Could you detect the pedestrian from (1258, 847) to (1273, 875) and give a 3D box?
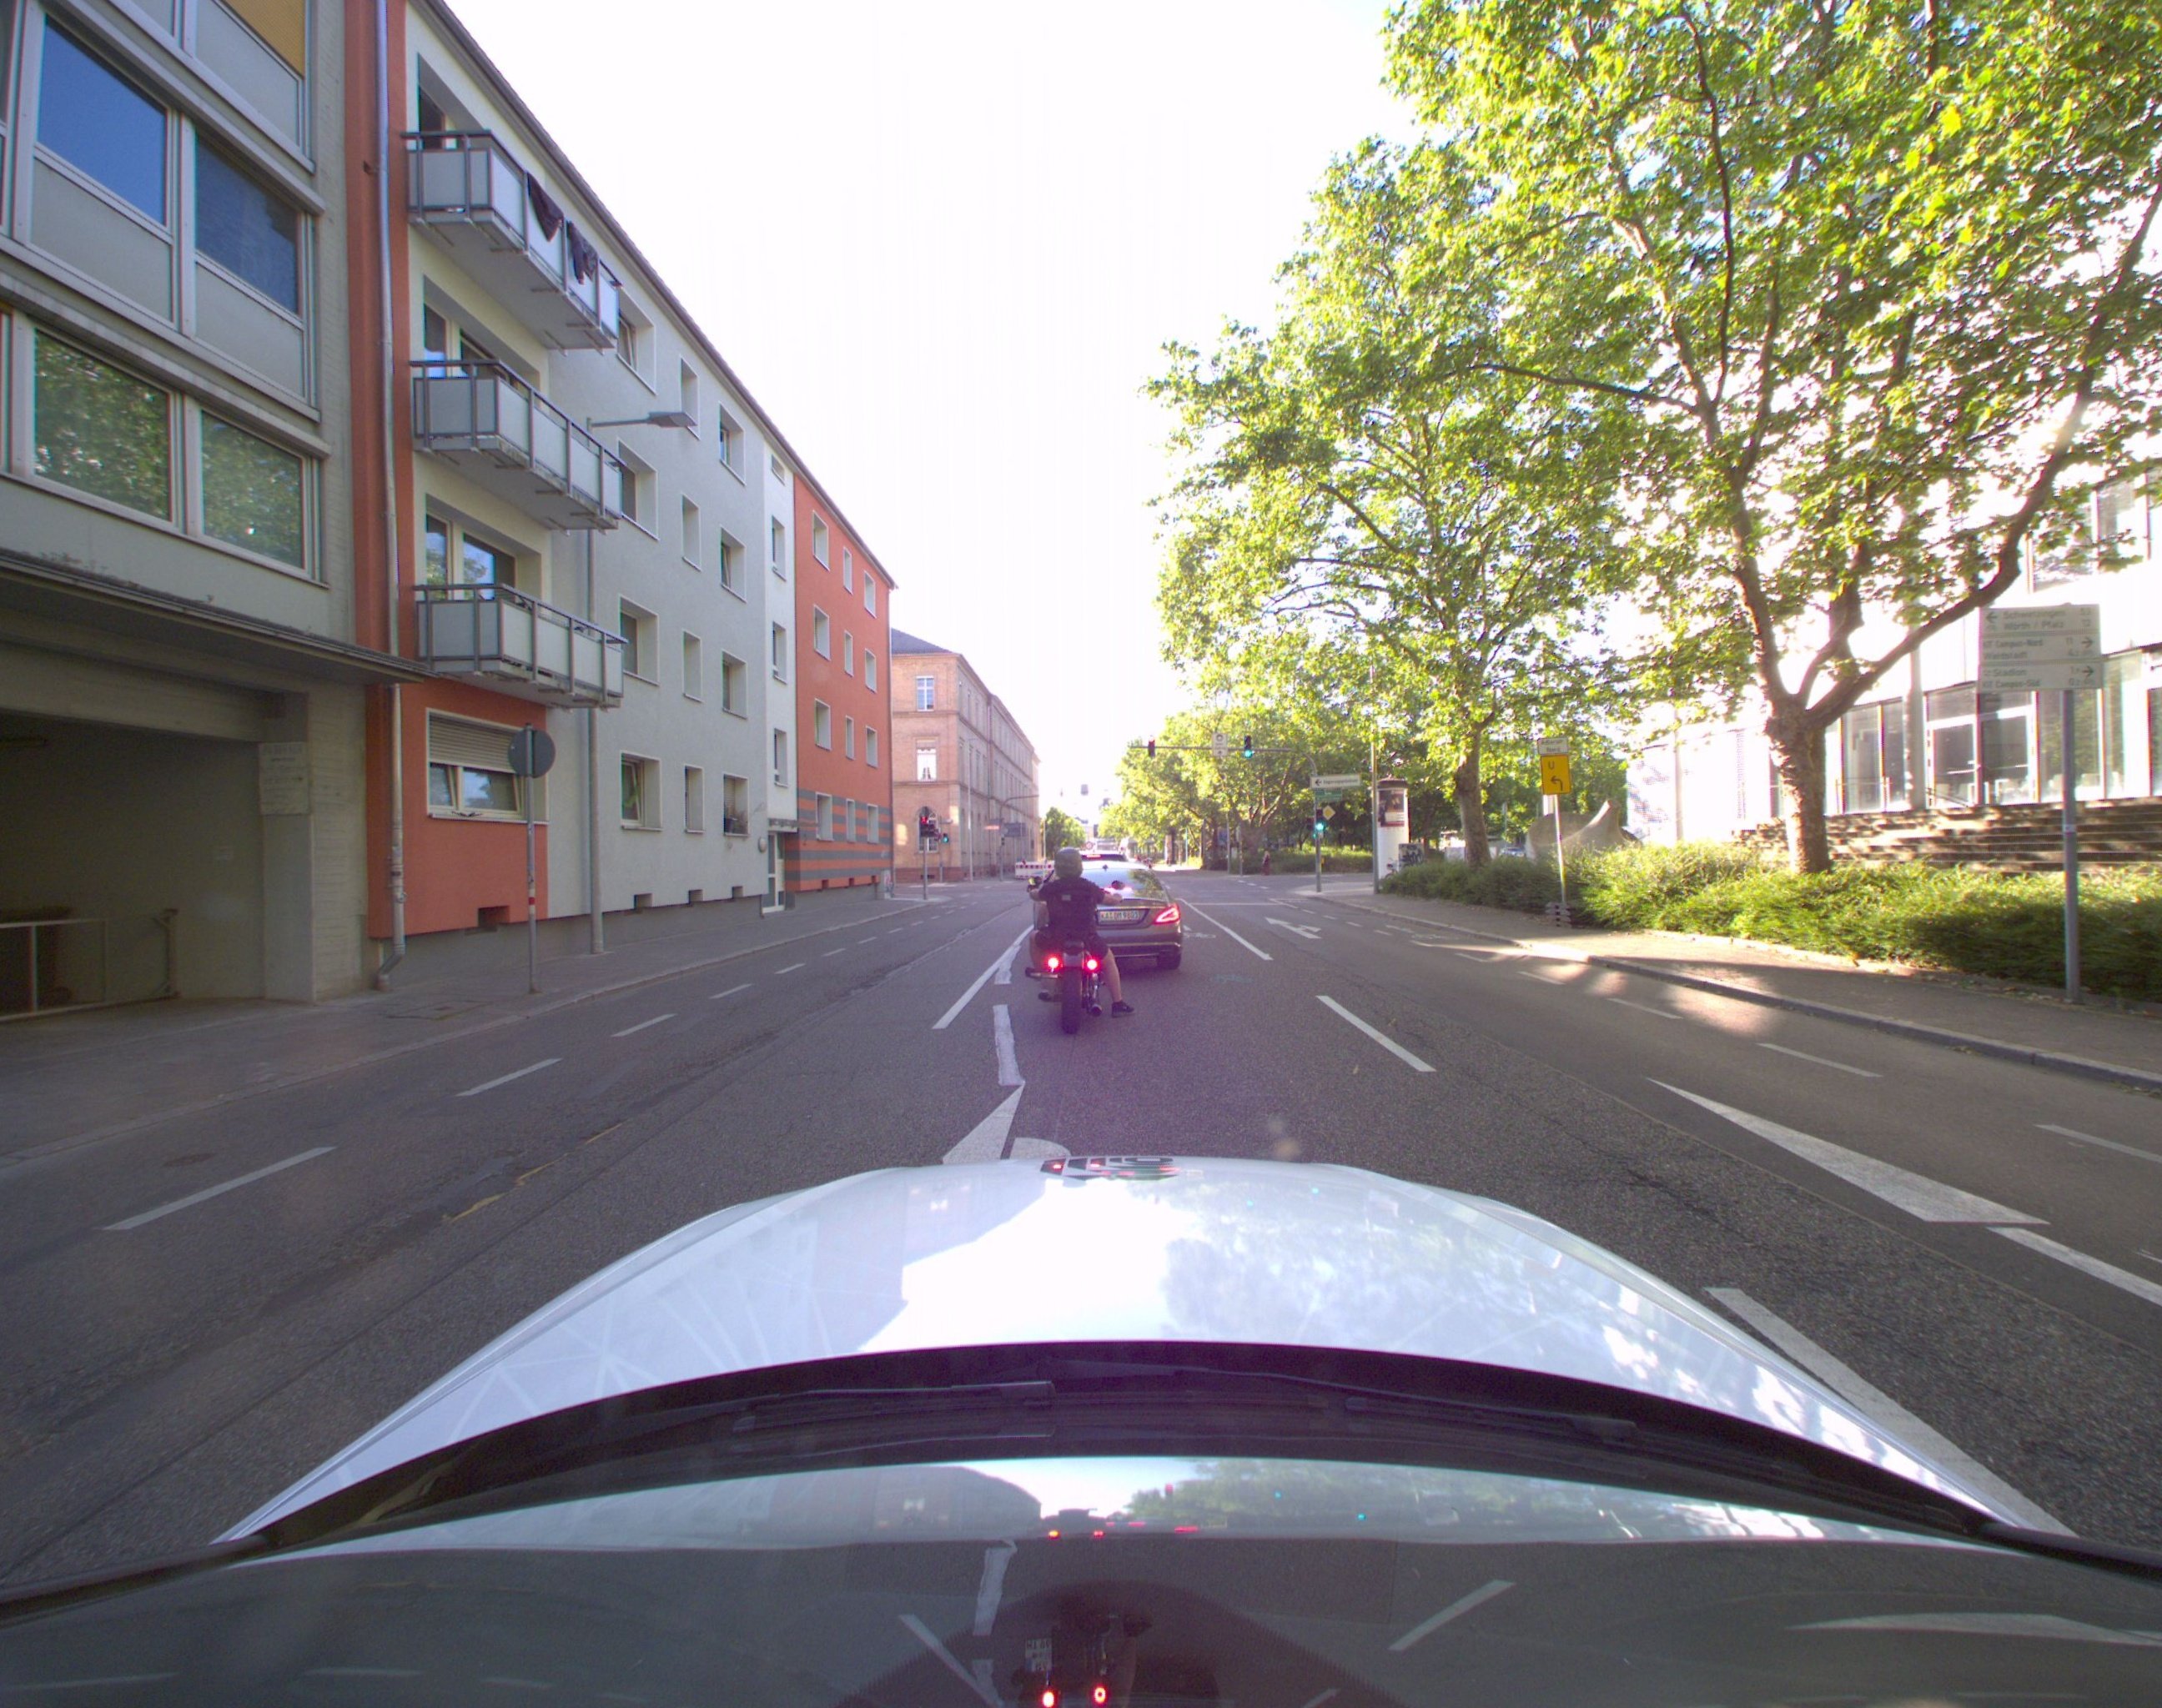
[{"bbox_3d":[11.983,0.439,52.869,0.671,1.772,0.621,-1,-1,44],"label":"pedestrian"}]

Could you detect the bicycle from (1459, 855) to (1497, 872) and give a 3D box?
[{"bbox_3d":[23.459,0.560,48.131,1.907,0.980,0.603,0,-1,7],"label":"bicycle"}]

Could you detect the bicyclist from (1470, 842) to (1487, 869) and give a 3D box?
[{"bbox_3d":[23.492,0.086,48.134,0.726,1.582,0.598,0,-1,7],"label":"bicyclist"}]

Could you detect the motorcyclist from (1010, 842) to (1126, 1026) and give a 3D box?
[{"bbox_3d":[-0.096,0.695,7.683,0.977,1.578,1.249,-1,0,1],"label":"motorcyclist"}]

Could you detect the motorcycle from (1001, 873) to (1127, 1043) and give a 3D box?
[{"bbox_3d":[-0.098,0.858,7.687,0.977,1.275,2.408,-1,0,2],"label":"motorcycle"}]

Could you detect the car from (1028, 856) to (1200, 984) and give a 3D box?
[{"bbox_3d":[0.258,0.774,11.741,1.867,1.444,4.421,-1,0,-6],"label":"car"}]

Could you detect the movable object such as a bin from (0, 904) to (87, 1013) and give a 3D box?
[{"bbox_3d":[-11.295,1.091,8.643,0.639,1.065,0.675,-1,0,1],"label":"movable object such as a bin"}]

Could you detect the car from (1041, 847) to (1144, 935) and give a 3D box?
[{"bbox_3d":[0.283,0.726,17.668,1.986,1.665,4.001,0,-1,2],"label":"car"}]

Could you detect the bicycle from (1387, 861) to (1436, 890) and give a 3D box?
[{"bbox_3d":[11.073,0.714,27.319,1.475,0.980,0.300,0,-1,7],"label":"bicycle"}]
